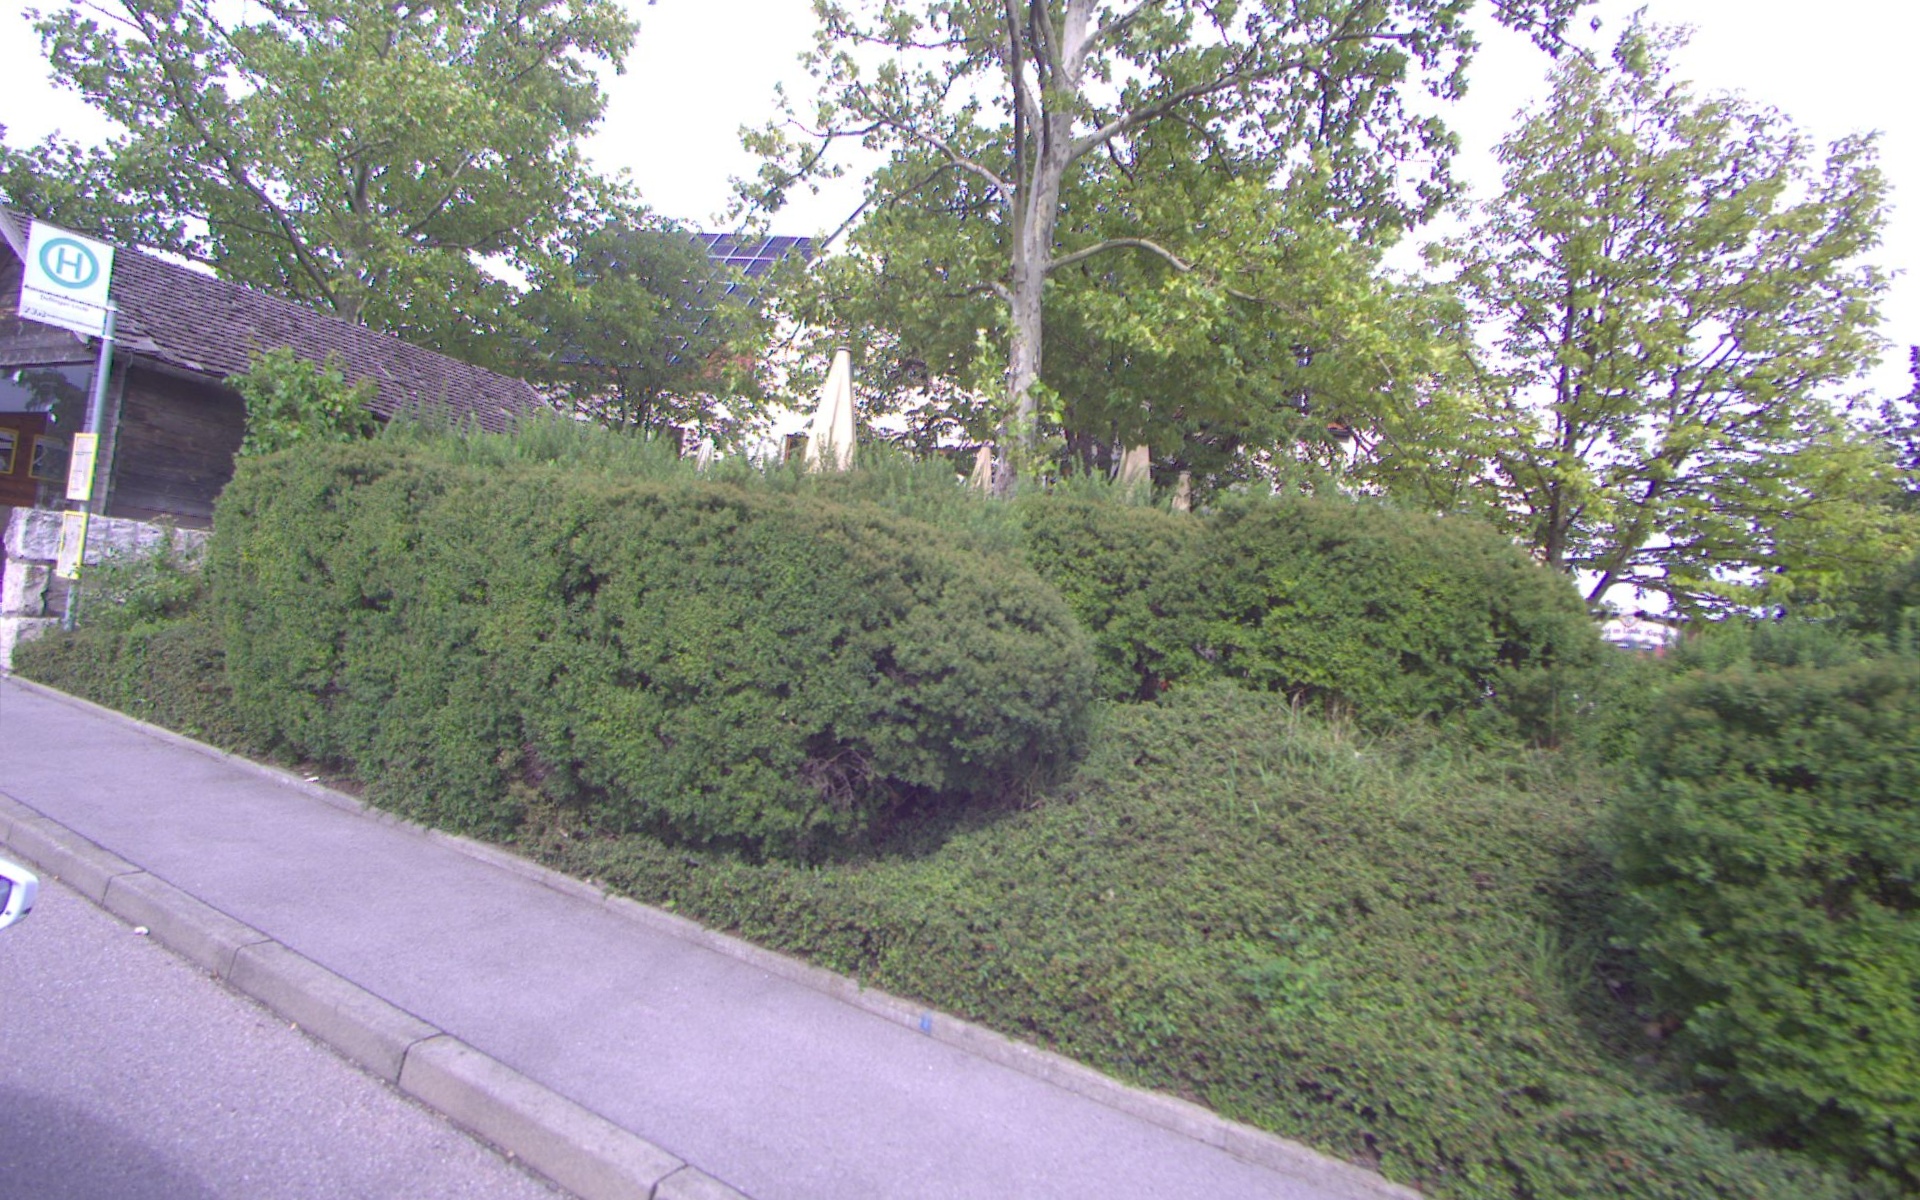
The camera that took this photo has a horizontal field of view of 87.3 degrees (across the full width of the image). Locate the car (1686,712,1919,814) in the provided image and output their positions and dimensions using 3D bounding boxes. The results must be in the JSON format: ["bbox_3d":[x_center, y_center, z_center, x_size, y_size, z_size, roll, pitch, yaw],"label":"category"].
[{"bbox_3d":[21.791,4.146,25.774,5.004,1.731,1.745,6,-2,39],"label":"car"}]
